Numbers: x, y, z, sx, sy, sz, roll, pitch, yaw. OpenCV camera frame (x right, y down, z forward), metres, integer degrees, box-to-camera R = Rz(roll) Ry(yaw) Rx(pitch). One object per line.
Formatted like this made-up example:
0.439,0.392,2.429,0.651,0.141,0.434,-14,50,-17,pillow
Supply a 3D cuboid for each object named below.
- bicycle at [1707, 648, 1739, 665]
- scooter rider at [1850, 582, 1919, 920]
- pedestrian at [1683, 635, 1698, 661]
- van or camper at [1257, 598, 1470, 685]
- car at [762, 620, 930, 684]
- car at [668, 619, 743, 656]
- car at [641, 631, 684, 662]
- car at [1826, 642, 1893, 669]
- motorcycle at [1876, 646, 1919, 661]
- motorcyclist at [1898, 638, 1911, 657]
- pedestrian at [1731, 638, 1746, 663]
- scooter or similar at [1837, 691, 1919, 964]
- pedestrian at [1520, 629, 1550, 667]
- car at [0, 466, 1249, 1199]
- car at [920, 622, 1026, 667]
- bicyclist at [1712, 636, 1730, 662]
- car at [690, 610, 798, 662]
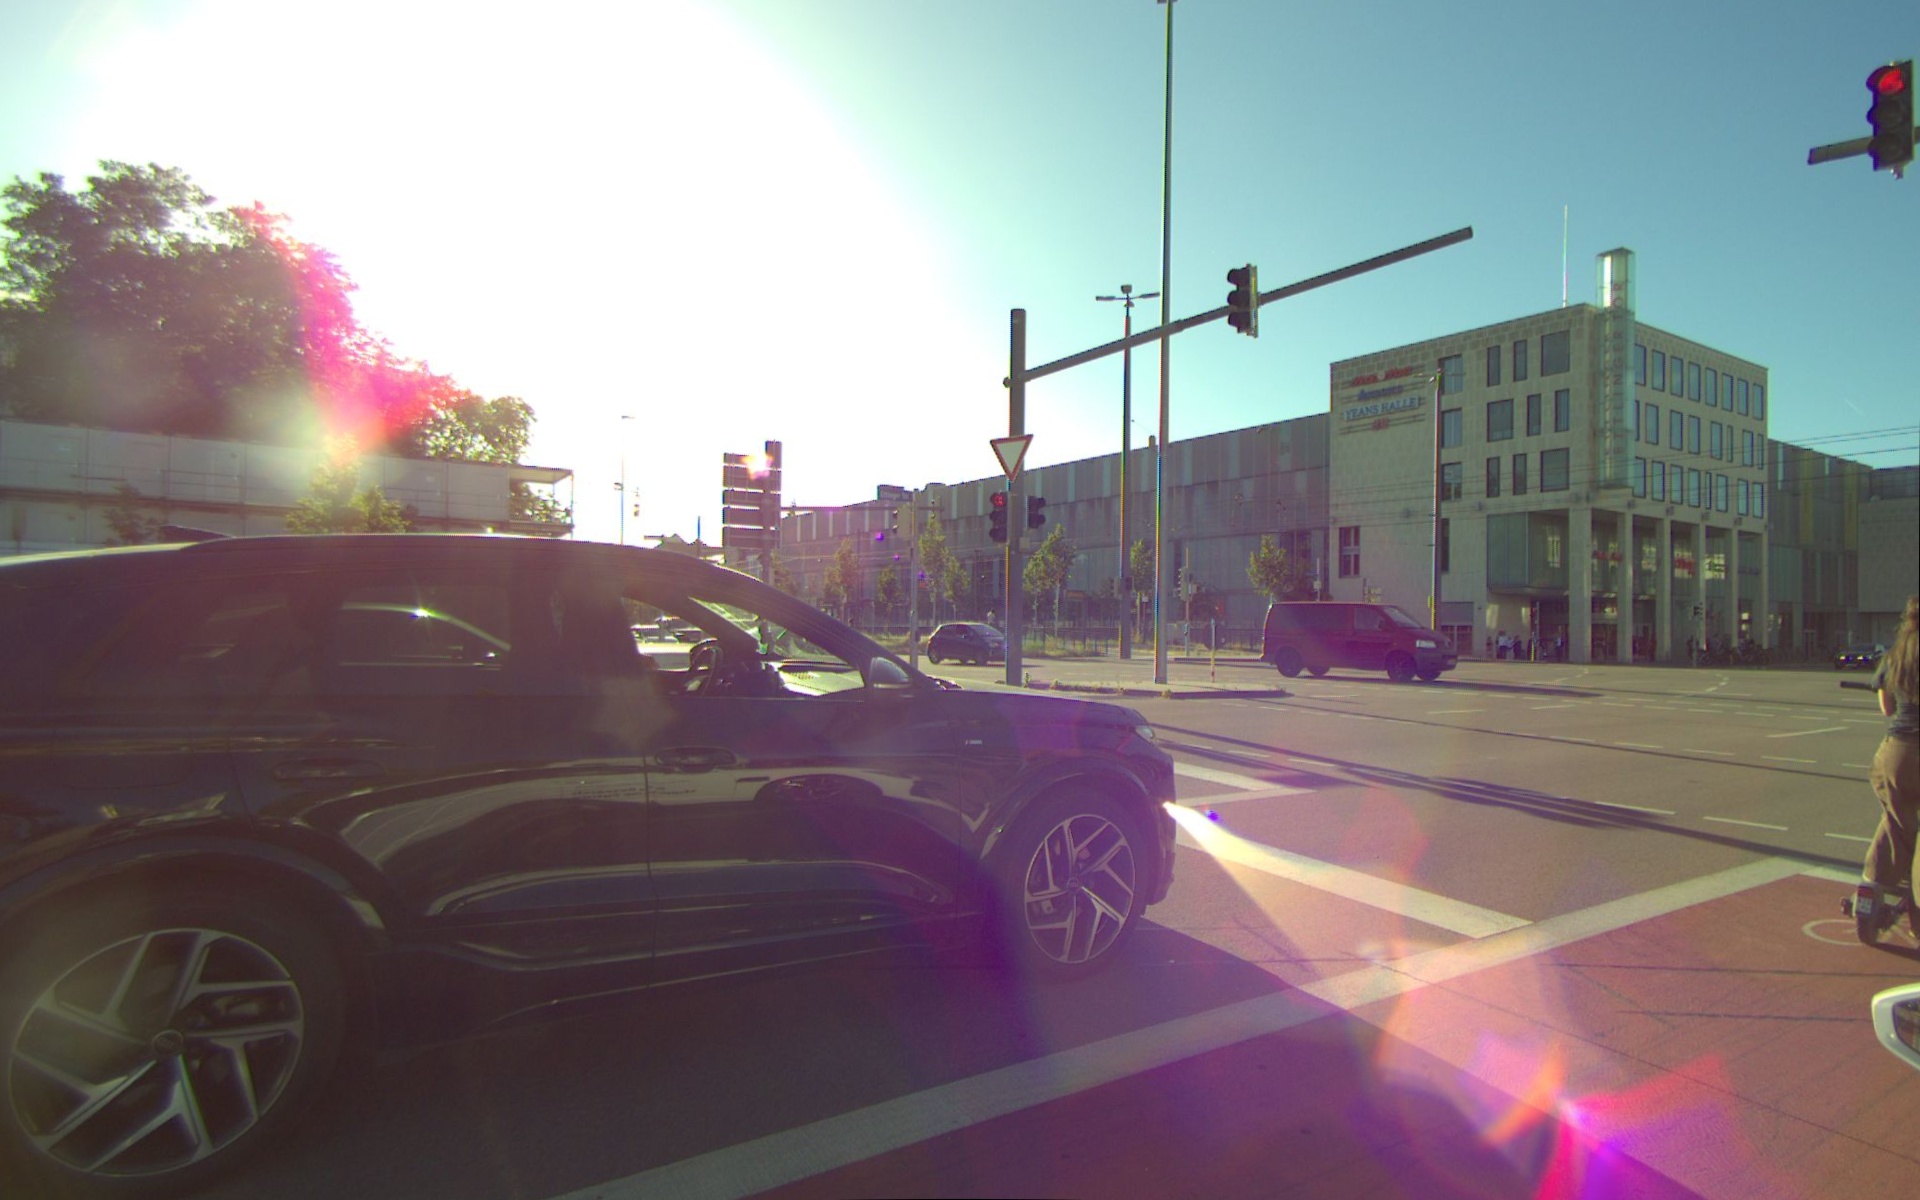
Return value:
43.286,3.176,56.970,2.191,0.915,0.633,1,-1,-29,bicycle
4.612,0.698,4.738,0.445,1.550,0.548,1,-1,-38,scooter rider
46.856,3.068,64.454,0.622,1.667,0.589,1,-1,-30,pedestrian
10.348,1.024,26.062,1.992,2.040,4.783,2,-2,-42,van or camper
-2.842,1.283,25.583,3.952,1.500,1.859,2,-2,-43,car
-13.829,1.989,54.359,1.873,1.888,4.771,2,-2,-43,car
-14.235,2.189,47.924,1.703,1.395,3.924,1,-1,-21,car
49.701,3.045,55.483,3.975,1.375,1.668,1,-1,-31,car
70.645,3.999,75.445,1.106,1.006,2.582,2,0,-38,motorcycle
70.891,3.567,75.400,0.657,1.424,0.623,2,0,-38,motorcyclist
56.016,3.609,72.263,0.681,1.752,0.472,2,0,9,pedestrian
4.361,1.012,4.688,0.832,1.122,0.303,2,-1,-42,scooter or similar
26.166,2.191,45.703,0.994,1.697,0.818,1,-1,-33,pedestrian
-1.252,0.603,4.067,4.614,1.729,2.153,1,0,-33,car
0.423,1.583,36.458,1.660,1.530,3.824,2,-2,-44,car
43.097,2.754,56.879,0.581,1.467,0.623,1,-1,-28,bicyclist
-8.596,1.384,39.739,1.876,1.947,4.866,2,-2,-44,car
